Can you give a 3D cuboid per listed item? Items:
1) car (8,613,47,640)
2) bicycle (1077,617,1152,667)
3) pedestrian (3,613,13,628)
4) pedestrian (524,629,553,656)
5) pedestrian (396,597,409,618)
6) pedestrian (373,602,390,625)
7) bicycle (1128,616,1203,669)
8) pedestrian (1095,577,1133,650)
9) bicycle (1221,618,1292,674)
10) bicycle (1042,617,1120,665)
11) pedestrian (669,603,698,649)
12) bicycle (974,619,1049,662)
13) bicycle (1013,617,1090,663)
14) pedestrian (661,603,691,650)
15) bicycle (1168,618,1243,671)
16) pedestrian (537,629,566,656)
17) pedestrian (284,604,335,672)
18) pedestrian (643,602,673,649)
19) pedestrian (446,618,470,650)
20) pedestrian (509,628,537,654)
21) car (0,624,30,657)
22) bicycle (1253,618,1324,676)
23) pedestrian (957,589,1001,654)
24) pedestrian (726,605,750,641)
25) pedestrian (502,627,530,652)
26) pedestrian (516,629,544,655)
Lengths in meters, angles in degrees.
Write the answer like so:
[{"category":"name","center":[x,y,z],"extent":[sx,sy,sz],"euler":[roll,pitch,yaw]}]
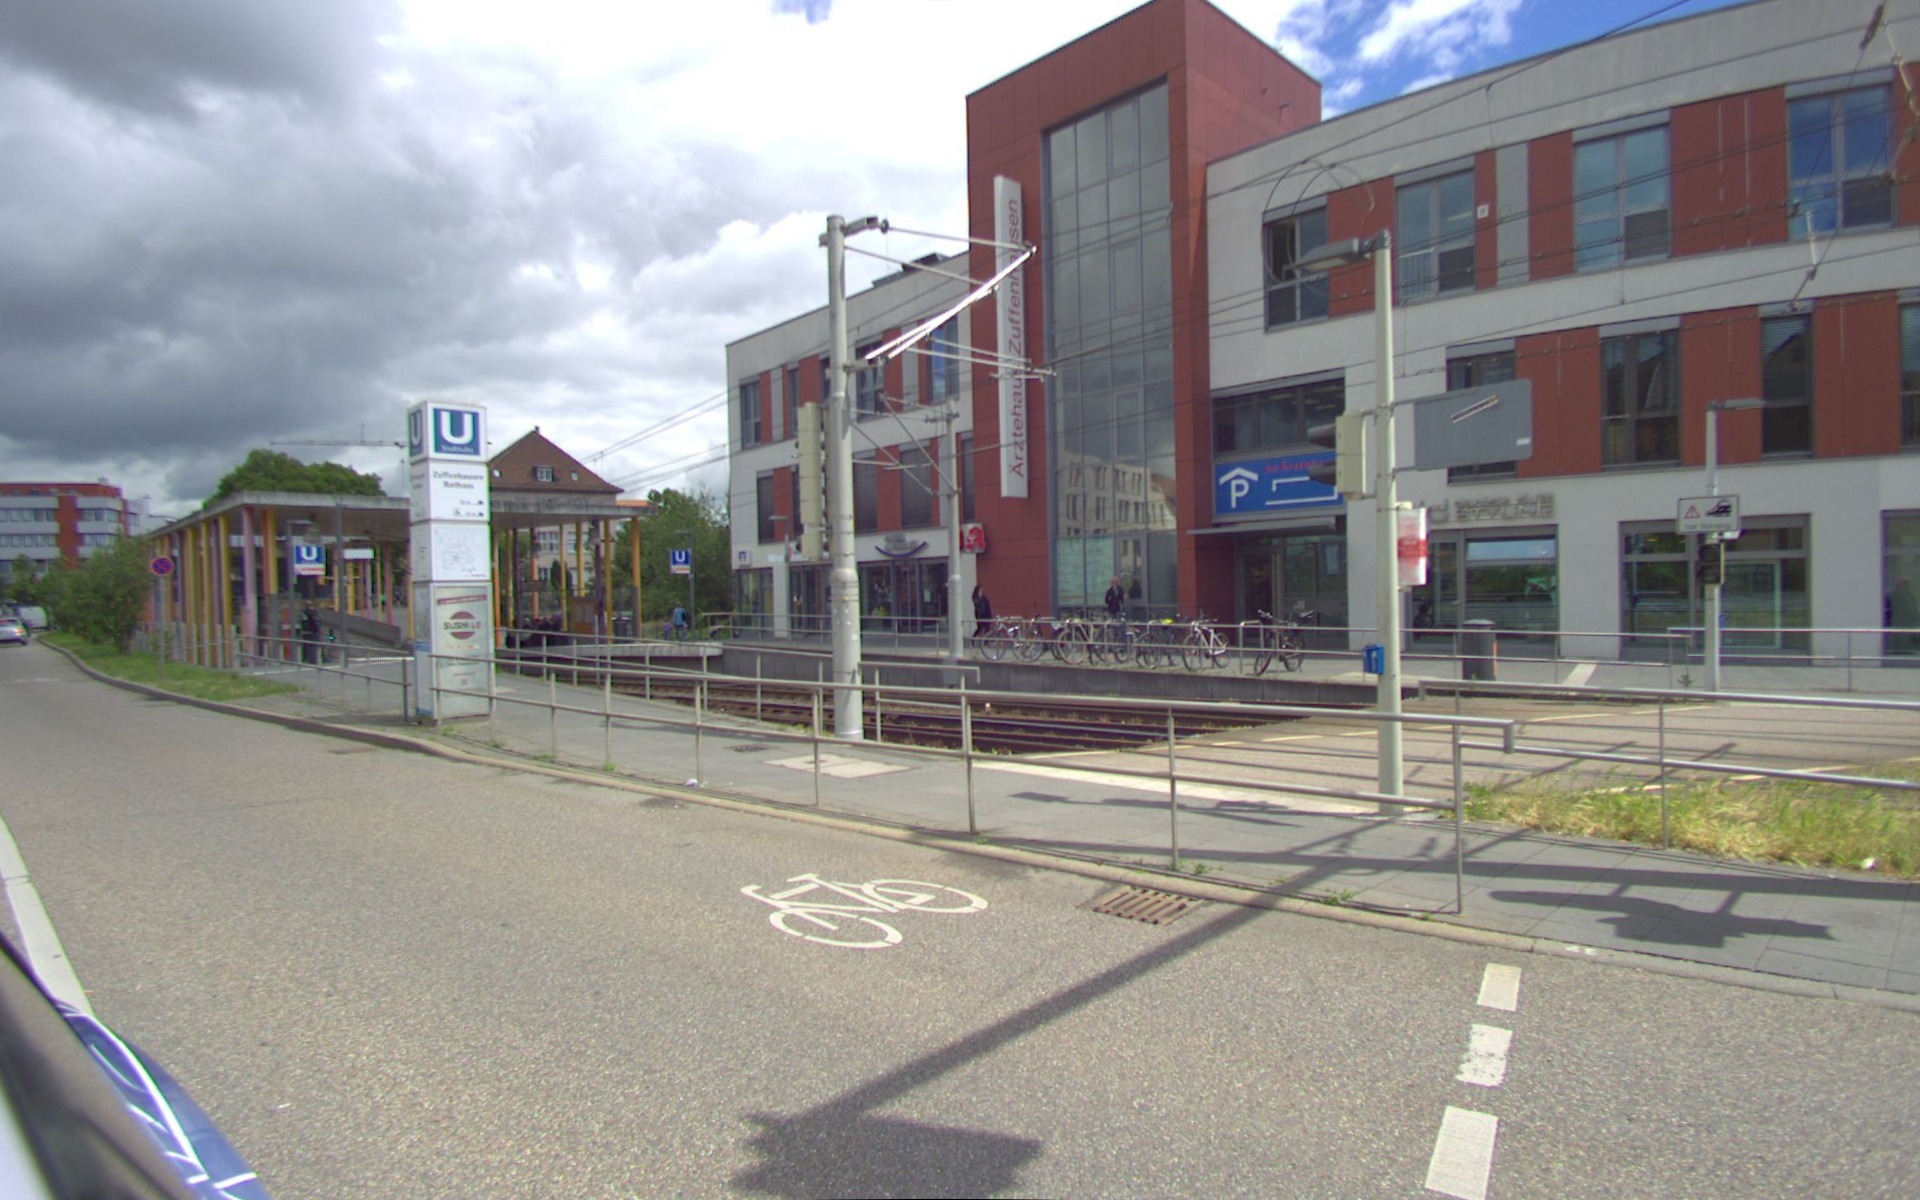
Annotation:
[{"category":"car","center":[-74.626,2.066,81.040],"extent":[1.968,2.092,4.008],"euler":[0,-1,-38]},{"category":"bicycle","center":[3.222,0.844,20.988],"extent":[1.834,0.946,0.455],"euler":[-1,0,-40]},{"category":"pedestrian","center":[-101.743,2.190,108.156],"extent":[0.663,1.524,0.784],"euler":[-1,-1,-35]},{"category":"pedestrian","center":[-18.752,1.879,45.020],"extent":[0.930,1.143,0.887],"euler":[0,-1,-43]},{"category":"pedestrian","center":[-55.597,0.787,100.975],"extent":[1.107,2.029,1.665],"euler":[-1,-1,-29]},{"category":"pedestrian","center":[-50.398,1.172,88.147],"extent":[1.111,2.029,0.817],"euler":[0,-1,-40]},{"category":"bicycle","center":[4.130,0.830,20.268],"extent":[1.835,0.970,0.455],"euler":[-1,0,-42]},{"category":"pedestrian","center":[4.017,0.339,26.431],"extent":[0.857,1.859,0.875],"euler":[0,1,17]},{"category":"bicycle","center":[5.547,0.837,18.894],"extent":[1.715,0.965,0.428],"euler":[-1,0,-42]},{"category":"bicycle","center":[2.596,0.859,21.637],"extent":[1.833,0.929,0.455],"euler":[-1,0,-37]},{"category":"pedestrian","center":[-12.311,1.145,45.052],"extent":[0.851,1.983,1.108],"euler":[0,-1,-40]},{"category":"bicycle","center":[1.187,0.902,22.996],"extent":[1.833,0.888,0.455],"euler":[-1,0,-36]},{"category":"bicycle","center":[2.026,0.863,22.241],"extent":[1.833,0.939,0.455],"euler":[-1,0,-37]},{"category":"pedestrian","center":[-12.187,1.128,43.434],"extent":[0.851,1.983,1.108],"euler":[0,-1,-40]},{"category":"bicycle","center":[4.764,0.840,19.583],"extent":[1.835,0.942,0.455],"euler":[-1,0,-42]},{"category":"pedestrian","center":[-17.941,1.876,44.482],"extent":[0.930,1.143,0.887],"euler":[0,-1,-43]},{"category":"pedestrian","center":[-18.815,1.085,29.263],"extent":[1.089,1.929,0.865],"euler":[1,-1,-43]},{"category":"pedestrian","center":[-12.808,1.069,42.922],"extent":[0.851,1.983,1.108],"euler":[0,-1,-40]},{"category":"pedestrian","center":[-32.251,2.184,65.035],"extent":[1.111,2.029,1.181],"euler":[0,-1,-40]},{"category":"pedestrian","center":[-20.055,1.888,46.477],"extent":[0.930,1.143,0.887],"euler":[0,-1,-43]},{"category":"car","center":[-50.208,2.139,53.330],"extent":[1.566,1.548,3.950],"euler":[-5,3,-44]},{"category":"bicycle","center":[6.003,0.837,18.455],"extent":[1.715,0.959,0.428],"euler":[-1,0,-42]},{"category":"pedestrian","center":[0.512,0.576,27.570],"extent":[0.777,1.711,0.936],"euler":[1,-1,-45]},{"category":"pedestrian","center":[-12.366,1.246,56.390],"extent":[1.087,1.983,0.867],"euler":[0,-1,-33]},{"category":"pedestrian","center":[-20.749,1.839,47.270],"extent":[0.930,1.143,0.887],"euler":[0,-1,-43]},{"category":"pedestrian","center":[-19.420,1.883,45.708],"extent":[0.930,1.143,0.887],"euler":[0,-1,-43]}]
